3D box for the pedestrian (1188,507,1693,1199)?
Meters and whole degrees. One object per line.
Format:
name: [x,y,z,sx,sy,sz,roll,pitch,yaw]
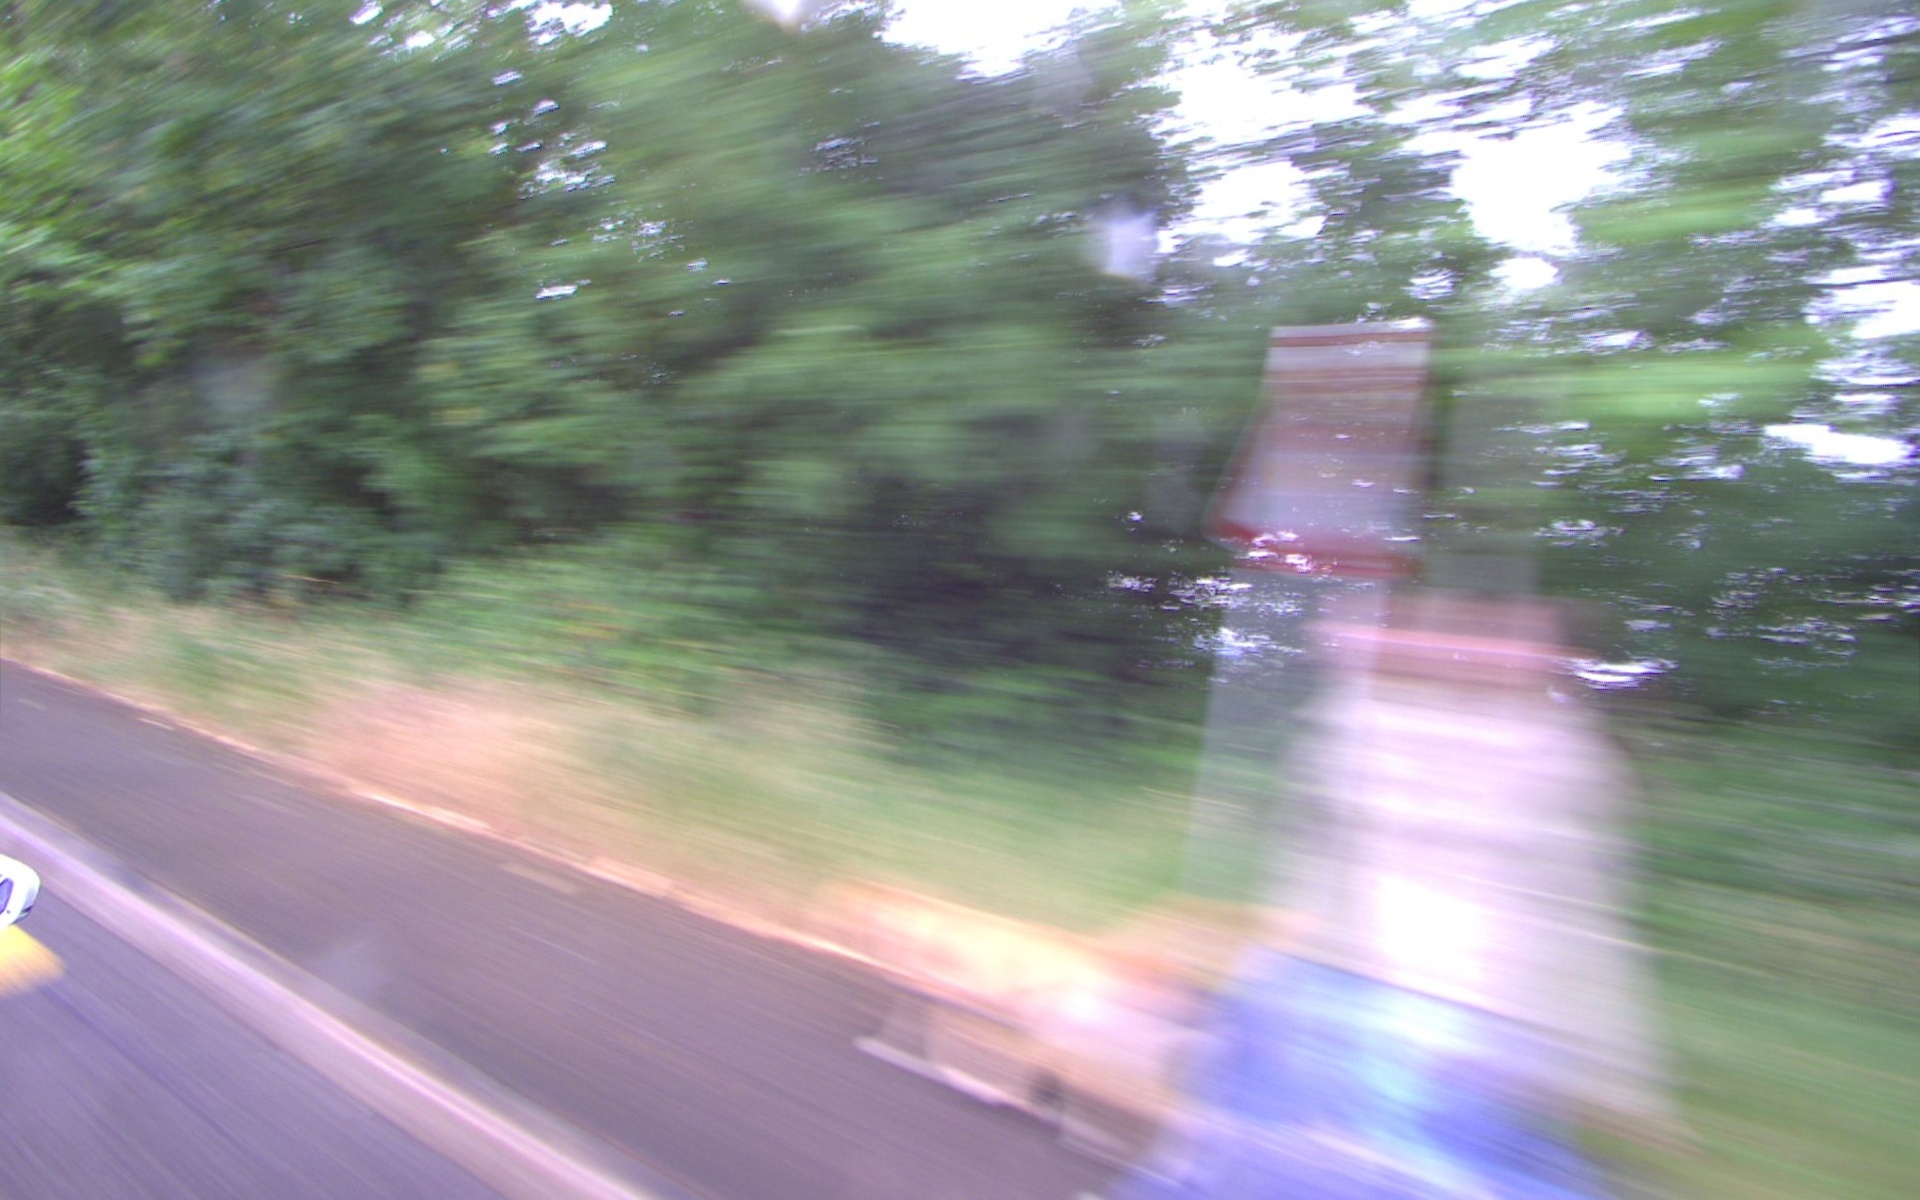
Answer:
pedestrian: [0.927,0.690,2.012,0.658,1.630,0.643,6,-1,30]
